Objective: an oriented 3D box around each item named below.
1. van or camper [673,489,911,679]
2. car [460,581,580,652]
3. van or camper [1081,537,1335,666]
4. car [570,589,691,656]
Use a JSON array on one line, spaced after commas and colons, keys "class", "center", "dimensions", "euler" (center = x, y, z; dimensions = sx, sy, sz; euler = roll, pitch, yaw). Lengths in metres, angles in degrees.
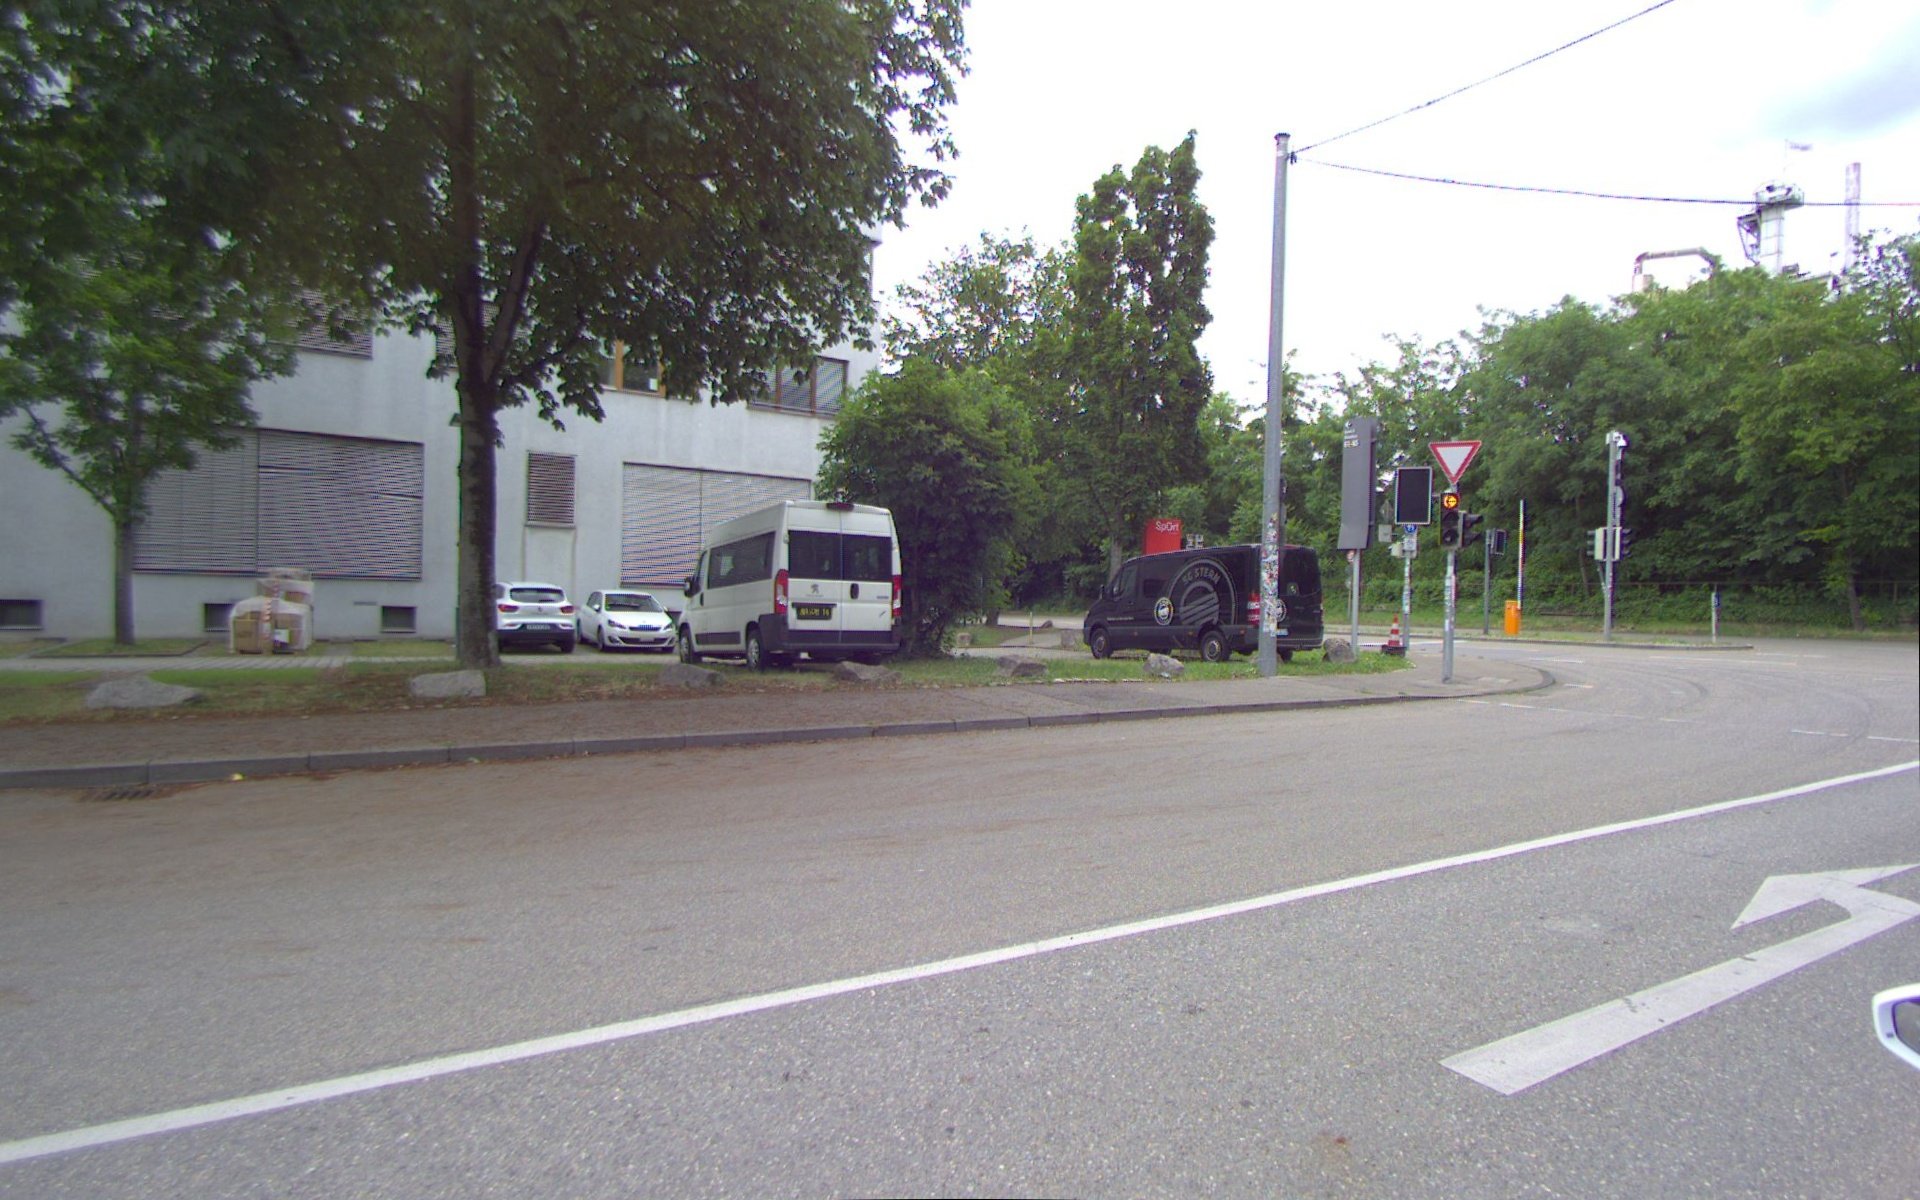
[{"class": "van or camper", "center": [-2.935, -0.235, 16.410], "dimensions": [2.039, 2.604, 4.943], "euler": [3, 0, -32]}, {"class": "car", "center": [-10.572, 0.360, 23.980], "dimensions": [1.881, 1.475, 3.972], "euler": [3, 0, -34]}, {"class": "van or camper", "center": [5.011, 0.126, 21.260], "dimensions": [2.036, 2.343, 5.513], "euler": [3, -3, -28]}, {"class": "car", "center": [-8.471, 0.529, 25.603], "dimensions": [1.881, 1.475, 3.972], "euler": [3, 0, -34]}]
